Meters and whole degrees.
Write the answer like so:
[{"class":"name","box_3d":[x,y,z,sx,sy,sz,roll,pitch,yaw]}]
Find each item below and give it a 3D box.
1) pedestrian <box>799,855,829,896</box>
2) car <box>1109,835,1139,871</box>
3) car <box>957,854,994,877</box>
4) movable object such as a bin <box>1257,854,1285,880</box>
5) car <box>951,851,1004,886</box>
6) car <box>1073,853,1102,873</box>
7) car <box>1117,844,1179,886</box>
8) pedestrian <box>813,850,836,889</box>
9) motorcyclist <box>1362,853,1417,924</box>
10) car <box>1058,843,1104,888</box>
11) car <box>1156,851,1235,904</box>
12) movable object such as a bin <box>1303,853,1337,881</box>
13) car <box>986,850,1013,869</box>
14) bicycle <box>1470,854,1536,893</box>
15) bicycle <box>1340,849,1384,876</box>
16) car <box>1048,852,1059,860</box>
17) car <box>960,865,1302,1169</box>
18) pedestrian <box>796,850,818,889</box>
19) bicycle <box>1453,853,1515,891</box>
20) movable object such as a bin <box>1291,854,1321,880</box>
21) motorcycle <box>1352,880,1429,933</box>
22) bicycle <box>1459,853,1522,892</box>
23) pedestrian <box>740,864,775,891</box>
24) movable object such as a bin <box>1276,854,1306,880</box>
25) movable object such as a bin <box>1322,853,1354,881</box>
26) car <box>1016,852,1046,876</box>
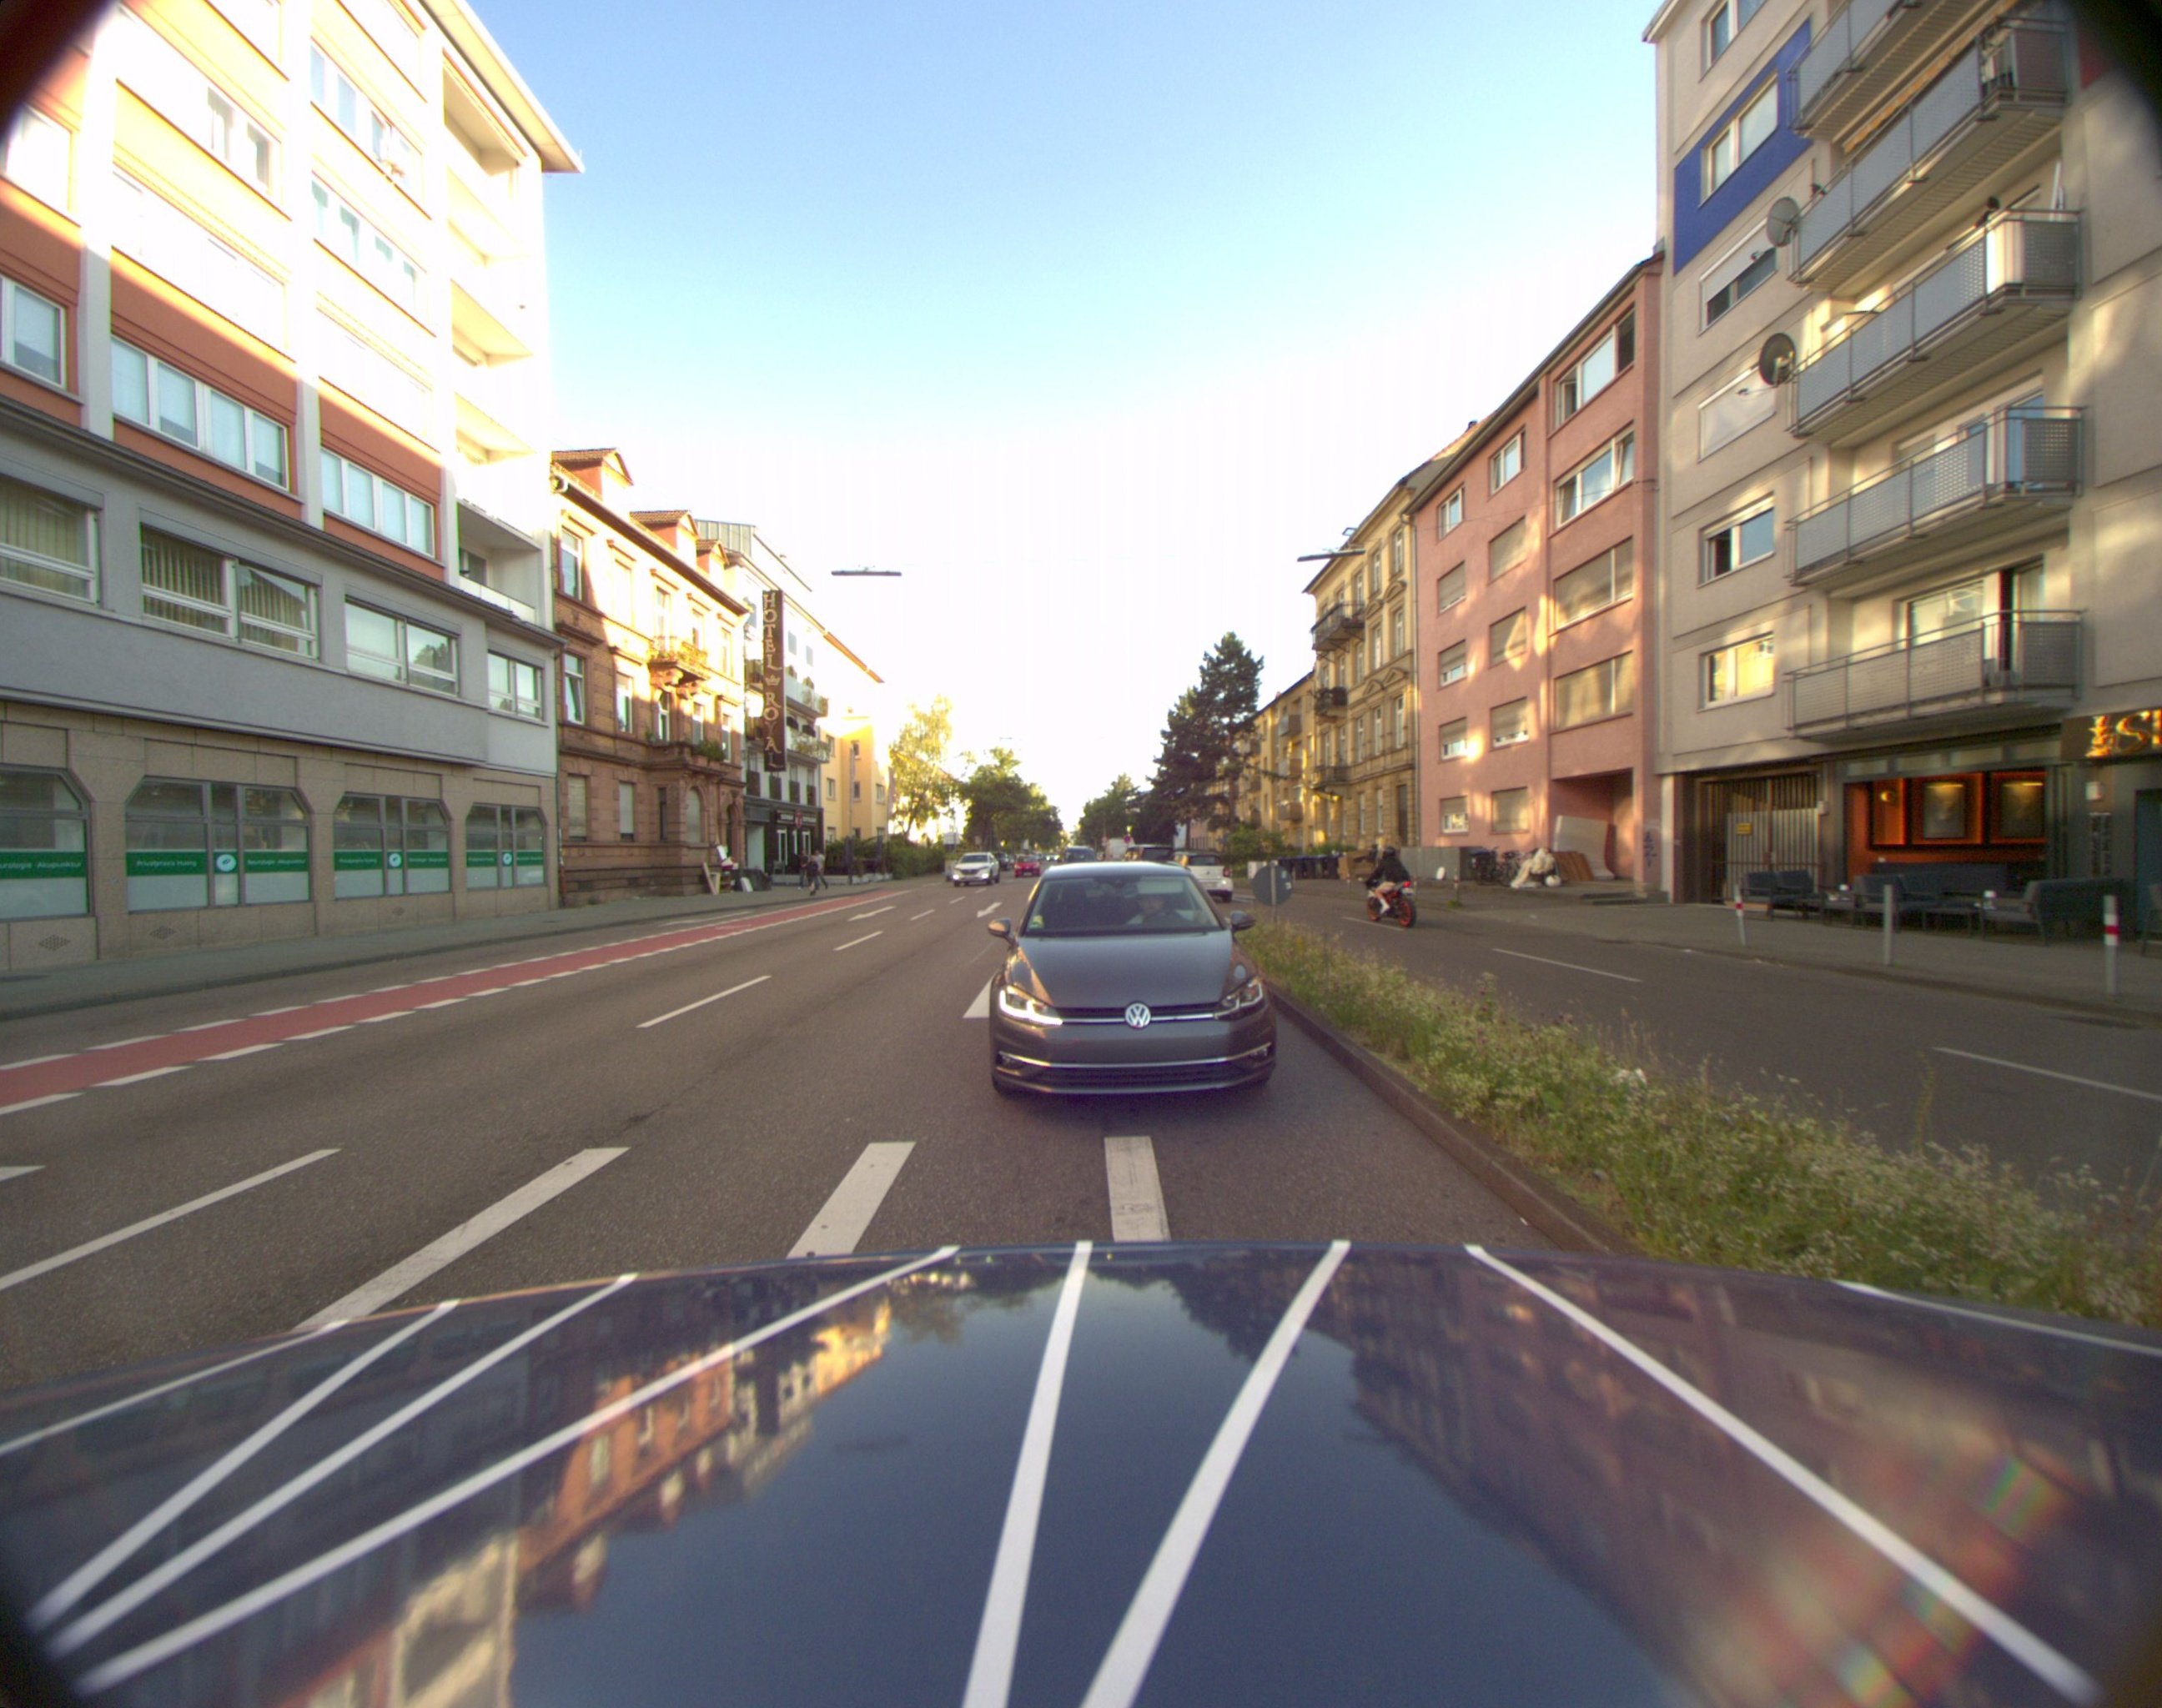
[{"class":"pedestrian","box_3d":[-10.658,0.841,30.359,0.738,1.593,1.011,2,1,6]},{"class":"car","box_3d":[3.400,-0.076,60.601,2.136,2.740,4.465,0,1,0]},{"class":"car","box_3d":[-7.266,0.748,52.544,1.905,1.508,4.074,-1,0,1]},{"class":"movable object such as a bin","box_3d":[9.405,0.648,37.638,0.847,1.225,1.196,0,1,42]},{"class":"car","box_3d":[-5.222,0.706,38.876,1.921,1.598,4.269,-2,1,2]},{"class":"car","box_3d":[0.440,0.645,56.121,1.895,1.382,4.267,0,0,-3]},{"class":"car","box_3d":[3.021,0.455,35.298,1.896,1.843,4.697,0,1,-8]},{"class":"pedestrian","box_3d":[-11.483,0.693,34.043,0.668,1.716,1.010,-1,1,-4]},{"class":"motorcyclist","box_3d":[6.415,0.693,15.833,0.750,1.433,0.958,0,1,-1]},{"class":"car","box_3d":[-0.021,0.455,33.789,1.895,1.843,4.466,0,1,0]},{"class":"car","box_3d":[3.540,0.694,24.021,1.596,1.533,3.402,0,1,-7]},{"class":"movable object such as a bin","box_3d":[11.192,0.602,35.546,1.295,1.225,0.926,-2,1,-40]},{"class":"car","box_3d":[-7.267,0.452,68.338,1.947,1.615,4.193,-1,0,0]},{"class":"bicycle","box_3d":[13.108,0.594,23.617,1.780,1.184,0.473,-1,1,-2]},{"class":"bicycle","box_3d":[12.684,0.385,34.318,1.780,1.184,0.473,-1,1,-2]},{"class":"car","box_3d":[-5.073,0.377,141.710,1.907,1.532,3.999,-1,1,0]},{"class":"car","box_3d":[0.293,0.906,6.184,1.770,1.450,4.269,-2,1,1]},{"class":"pedestrian","box_3d":[-12.237,0.673,33.997,0.668,1.716,1.010,-1,1,-5]},{"class":"bicycle","box_3d":[13.209,0.582,24.929,1.780,1.184,0.473,-1,1,-2]},{"class":"movable object such as a bin","box_3d":[10.799,0.609,36.440,1.196,1.225,0.847,-2,1,-40]},{"class":"motorcycle","box_3d":[6.408,1.055,15.848,0.750,0.957,2.048,0,0,-1]},{"class":"bicycle","box_3d":[13.129,0.592,24.350,1.780,1.184,0.473,-1,1,-2]},{"class":"pedestrian","box_3d":[-13.773,0.987,32.343,1.100,1.129,0.924,-1,1,-2]},{"class":"movable object such as a bin","box_3d":[10.270,0.620,37.144,1.196,1.225,0.847,-2,1,-40]},{"class":"movable object such as a bin","box_3d":[11.767,0.591,34.802,1.196,1.225,0.847,-2,1,-40]},{"class":"car","box_3d":[-3.360,0.647,51.736,1.674,1.454,3.999,-2,1,1]}]
